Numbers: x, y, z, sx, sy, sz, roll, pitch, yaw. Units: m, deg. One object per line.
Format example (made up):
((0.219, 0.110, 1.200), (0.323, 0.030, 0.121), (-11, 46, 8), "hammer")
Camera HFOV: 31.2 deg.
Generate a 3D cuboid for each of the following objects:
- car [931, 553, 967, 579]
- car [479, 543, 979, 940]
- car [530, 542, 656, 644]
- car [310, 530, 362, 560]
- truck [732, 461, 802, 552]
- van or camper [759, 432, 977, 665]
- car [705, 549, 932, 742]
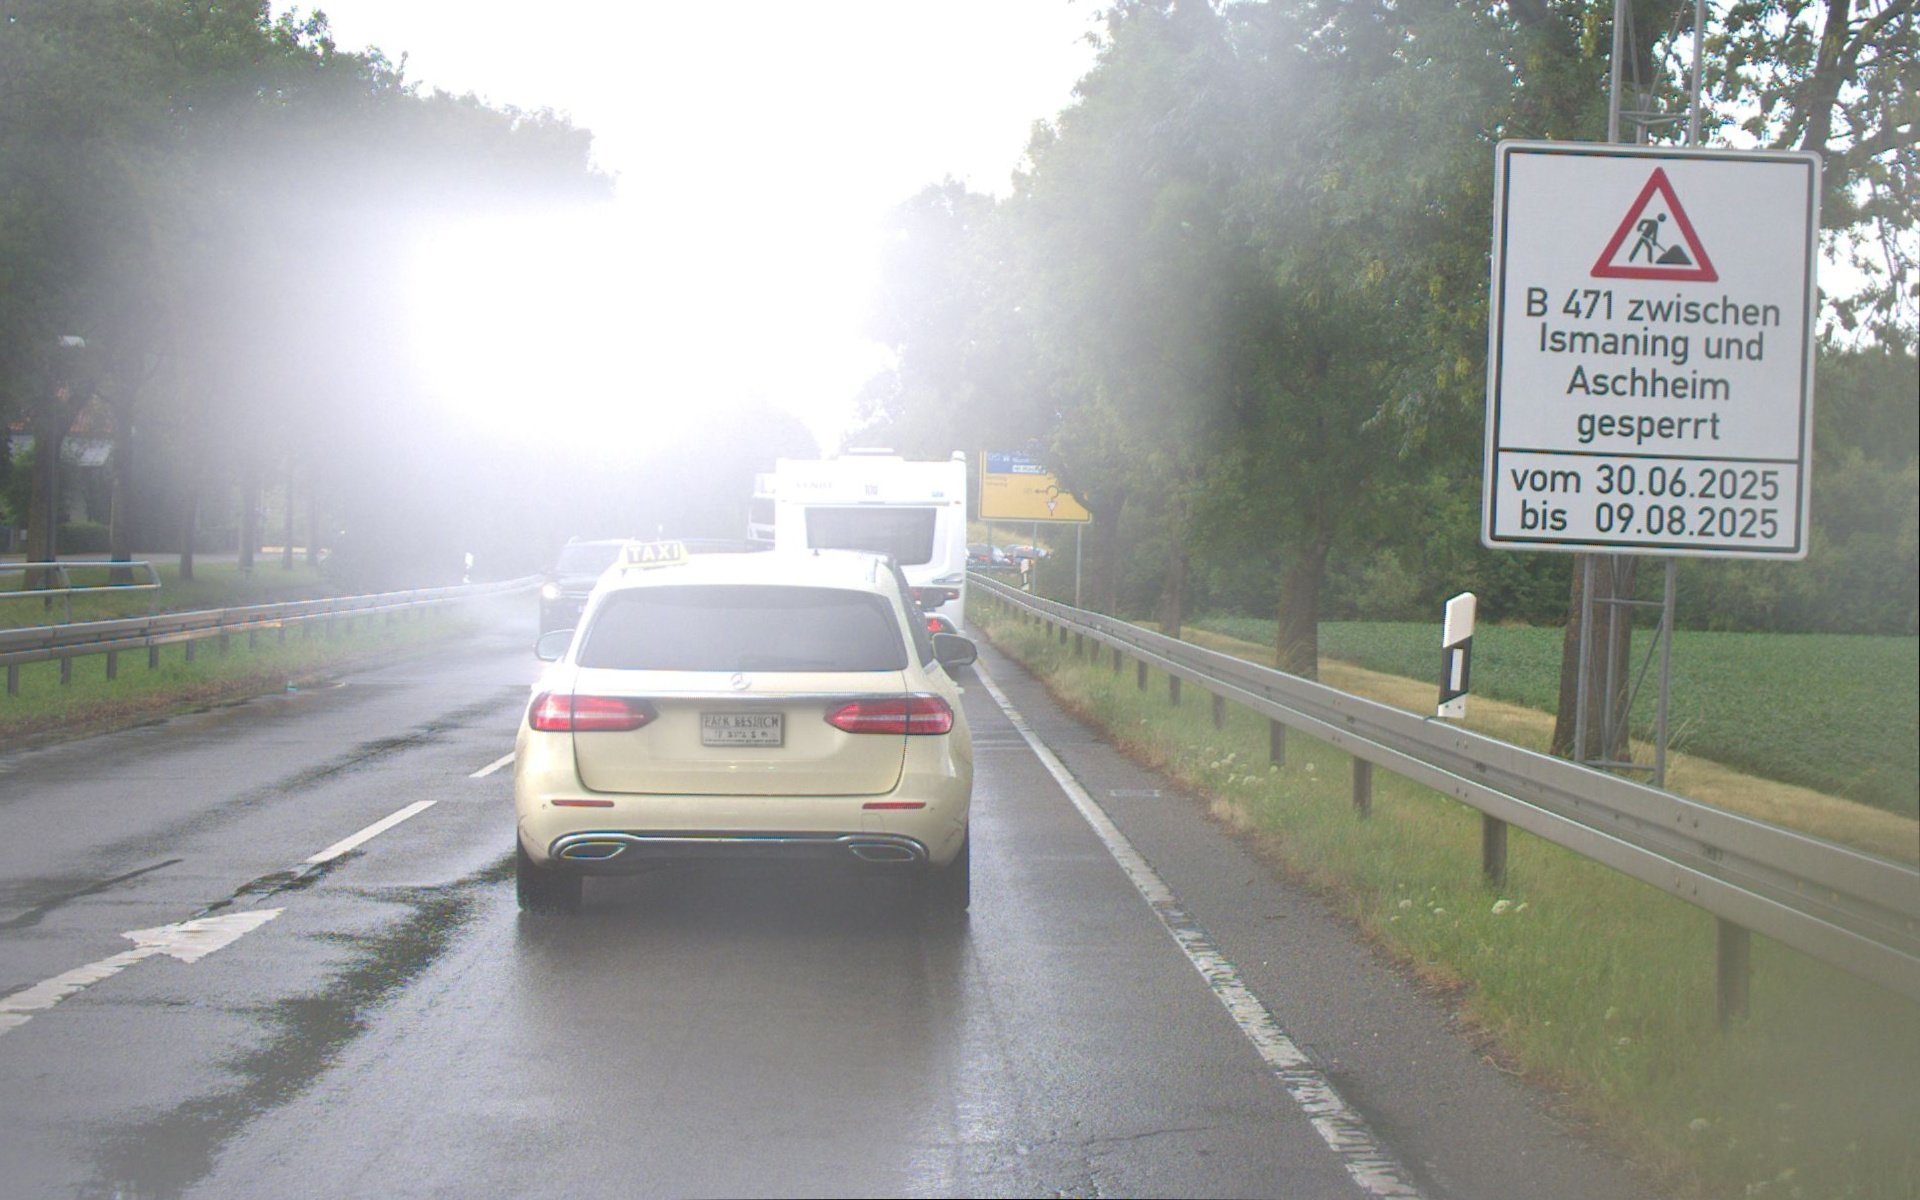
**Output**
((-0.481, -1.462, 148.621), (1.551, 1.114, 4.000), (1, 1, 0), "car")
((-0.865, 0.496, 14.853), (1.865, 1.471, 4.000), (0, 1, 0), "car")
((-6.032, -0.142, 56.877), (1.764, 1.614, 4.000), (0, 1, -2), "car")
((-30.654, -2.706, 169.026), (1.785, 1.411, 4.000), (2, 1, 0), "car")
((-7.550, -3.658, 135.328), (2.576, 3.440, 9.557), (0, 1, -2), "truck")
((-1.072, -0.651, 42.915), (2.489, 2.676, 5.700), (1, 1, 0), "van or camper")
((-1.076, 0.312, 27.769), (1.664, 1.426, 4.000), (0, 1, 0), "car")
